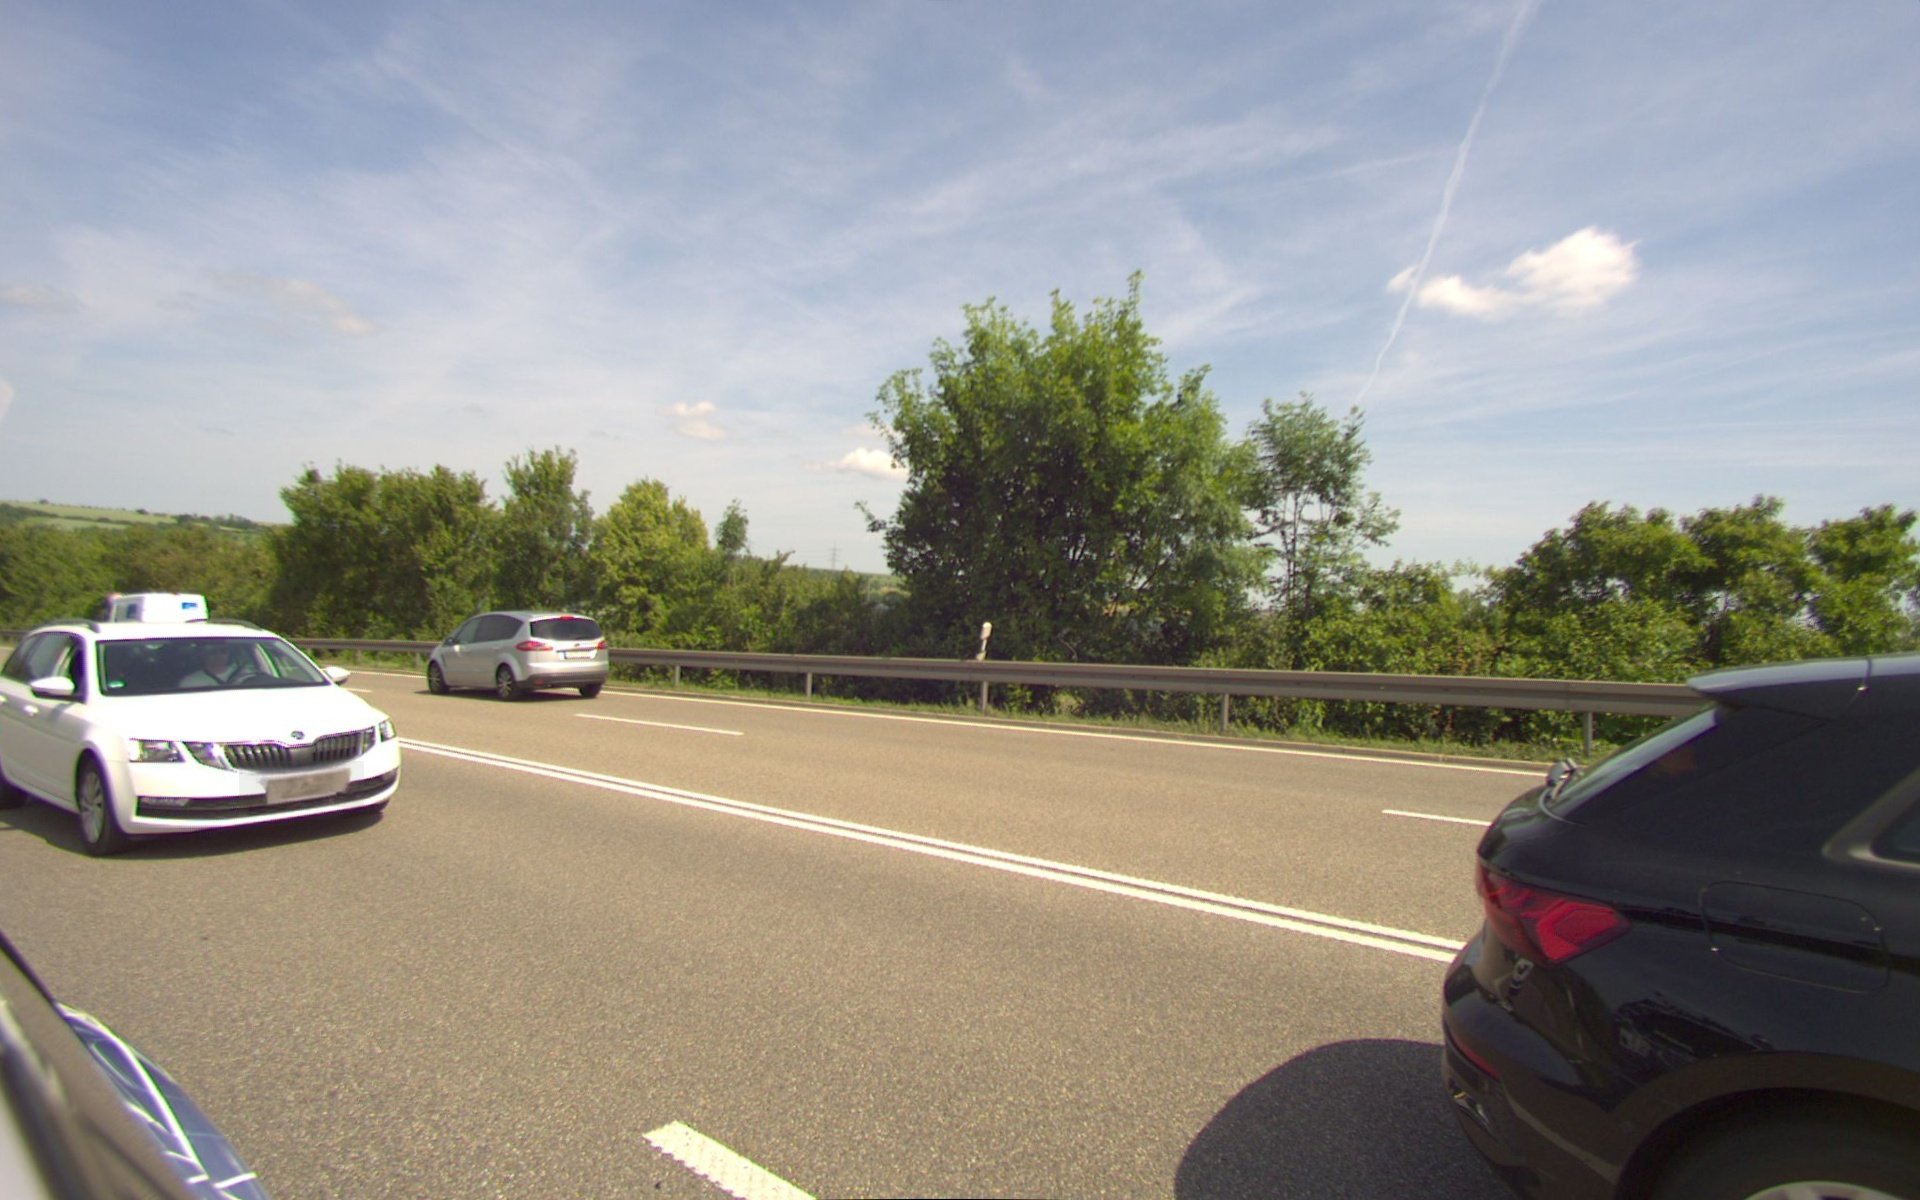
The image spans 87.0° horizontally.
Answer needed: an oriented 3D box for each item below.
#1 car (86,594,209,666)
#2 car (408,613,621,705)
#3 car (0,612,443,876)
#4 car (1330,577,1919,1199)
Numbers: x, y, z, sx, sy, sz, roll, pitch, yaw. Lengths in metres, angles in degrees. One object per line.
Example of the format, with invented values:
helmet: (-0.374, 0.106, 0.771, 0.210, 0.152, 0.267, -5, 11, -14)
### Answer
car: (-29.243, 1.067, 36.352, 5.833, 2.413, 2.069, -1, -2, 37)
car: (-8.685, 1.068, 19.560, 4.678, 1.580, 1.795, -1, -2, 39)
car: (-6.150, 0.874, 7.846, 4.777, 1.483, 1.805, -2, -1, 35)
car: (3.137, 0.696, 1.181, 4.809, 1.483, 1.687, -1, -1, 41)
